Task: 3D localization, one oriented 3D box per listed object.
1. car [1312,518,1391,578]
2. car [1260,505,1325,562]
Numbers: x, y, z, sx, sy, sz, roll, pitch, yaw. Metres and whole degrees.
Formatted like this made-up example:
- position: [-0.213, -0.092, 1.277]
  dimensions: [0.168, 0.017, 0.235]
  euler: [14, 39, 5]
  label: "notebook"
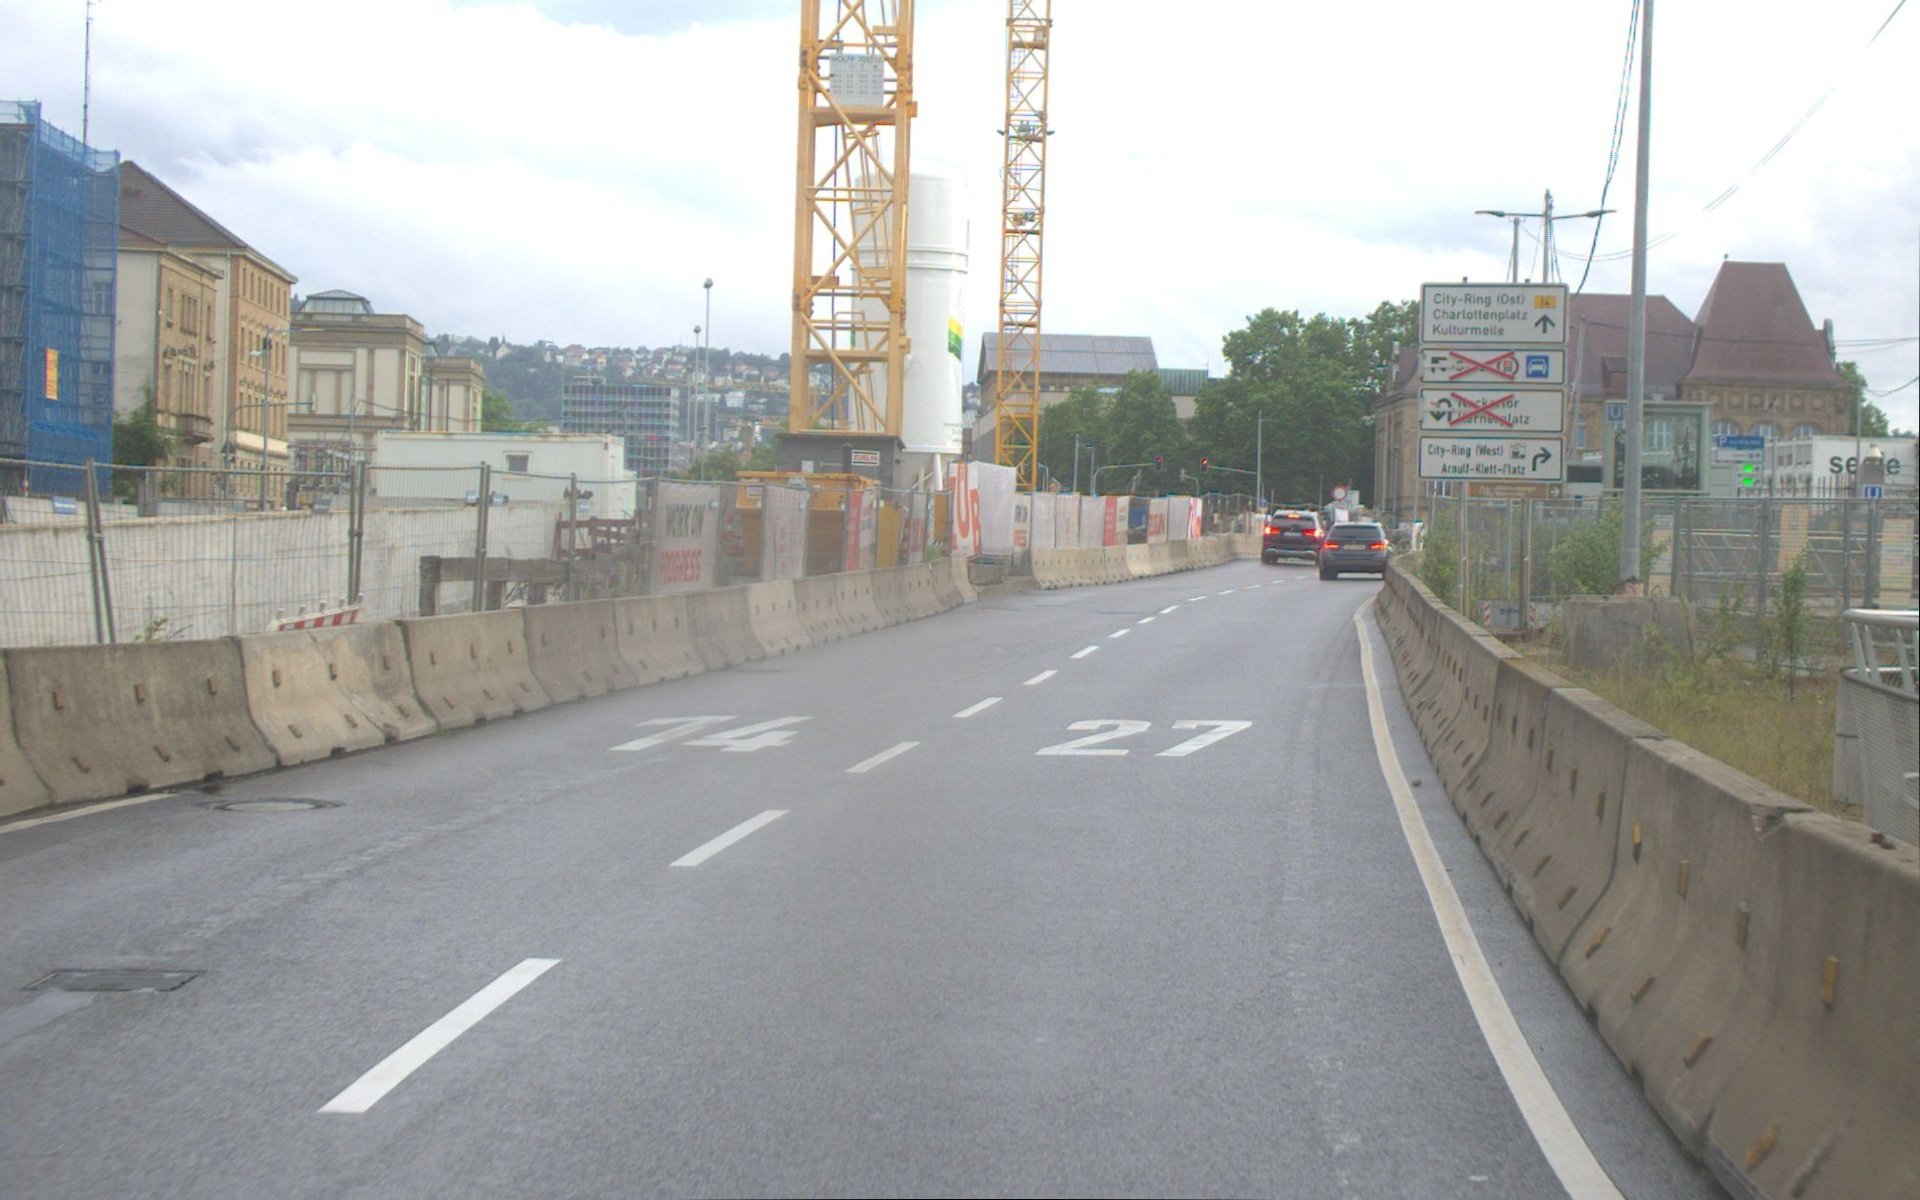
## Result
- position: [9.790, -1.294, 86.230]
  dimensions: [1.863, 1.428, 4.655]
  euler: [-1, 0, 5]
  label: "car"
- position: [10.204, -2.040, 105.143]
  dimensions: [1.863, 1.655, 4.655]
  euler: [2, 1, 6]
  label: "car"
